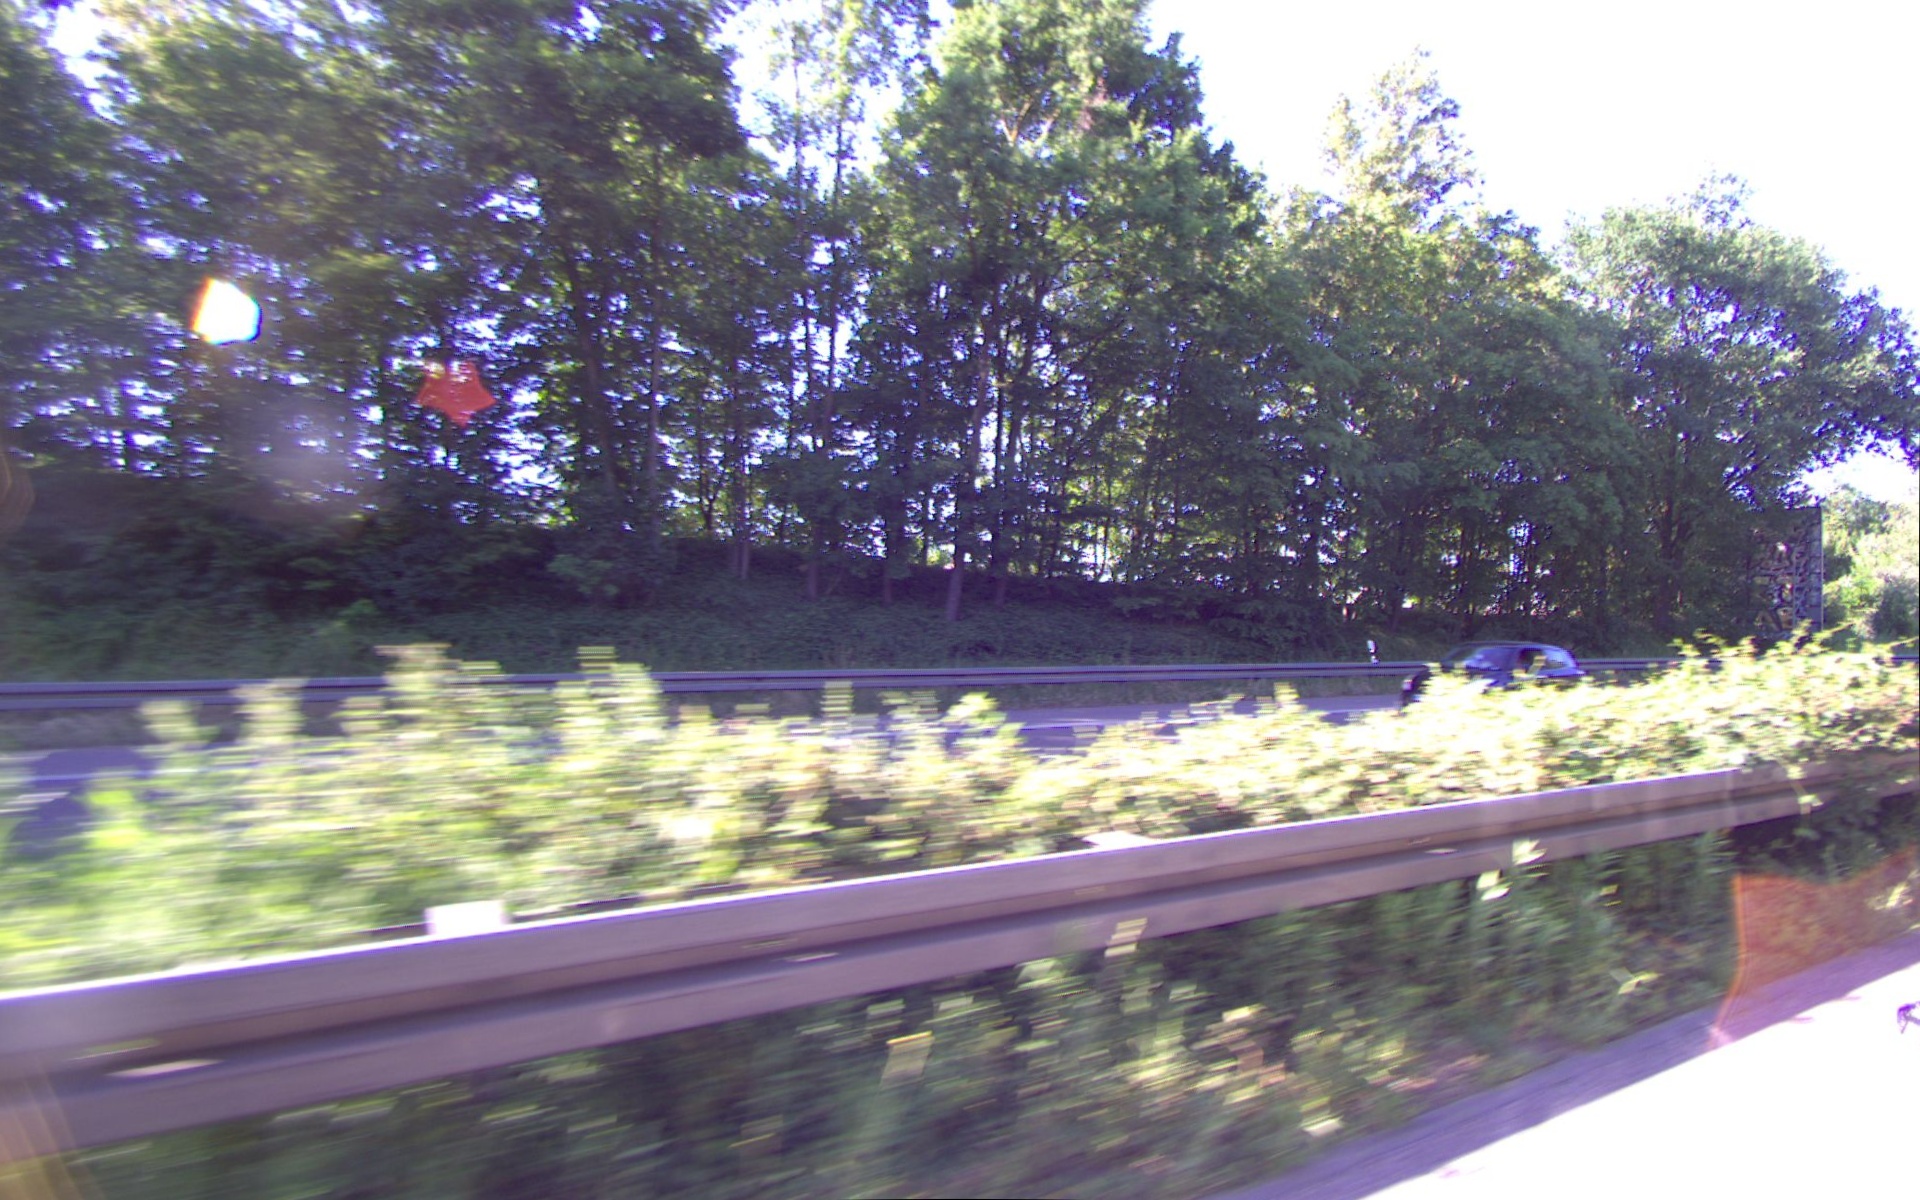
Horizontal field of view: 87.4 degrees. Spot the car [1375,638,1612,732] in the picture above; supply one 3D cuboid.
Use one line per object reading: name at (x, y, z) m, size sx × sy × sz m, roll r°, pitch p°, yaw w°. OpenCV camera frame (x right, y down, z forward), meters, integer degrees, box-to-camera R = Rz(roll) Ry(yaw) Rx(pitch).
car at (9.806, 1.469, 18.410) m, size 4.277 × 1.469 × 1.950 m, roll 1°, pitch 0°, yaw -31°
